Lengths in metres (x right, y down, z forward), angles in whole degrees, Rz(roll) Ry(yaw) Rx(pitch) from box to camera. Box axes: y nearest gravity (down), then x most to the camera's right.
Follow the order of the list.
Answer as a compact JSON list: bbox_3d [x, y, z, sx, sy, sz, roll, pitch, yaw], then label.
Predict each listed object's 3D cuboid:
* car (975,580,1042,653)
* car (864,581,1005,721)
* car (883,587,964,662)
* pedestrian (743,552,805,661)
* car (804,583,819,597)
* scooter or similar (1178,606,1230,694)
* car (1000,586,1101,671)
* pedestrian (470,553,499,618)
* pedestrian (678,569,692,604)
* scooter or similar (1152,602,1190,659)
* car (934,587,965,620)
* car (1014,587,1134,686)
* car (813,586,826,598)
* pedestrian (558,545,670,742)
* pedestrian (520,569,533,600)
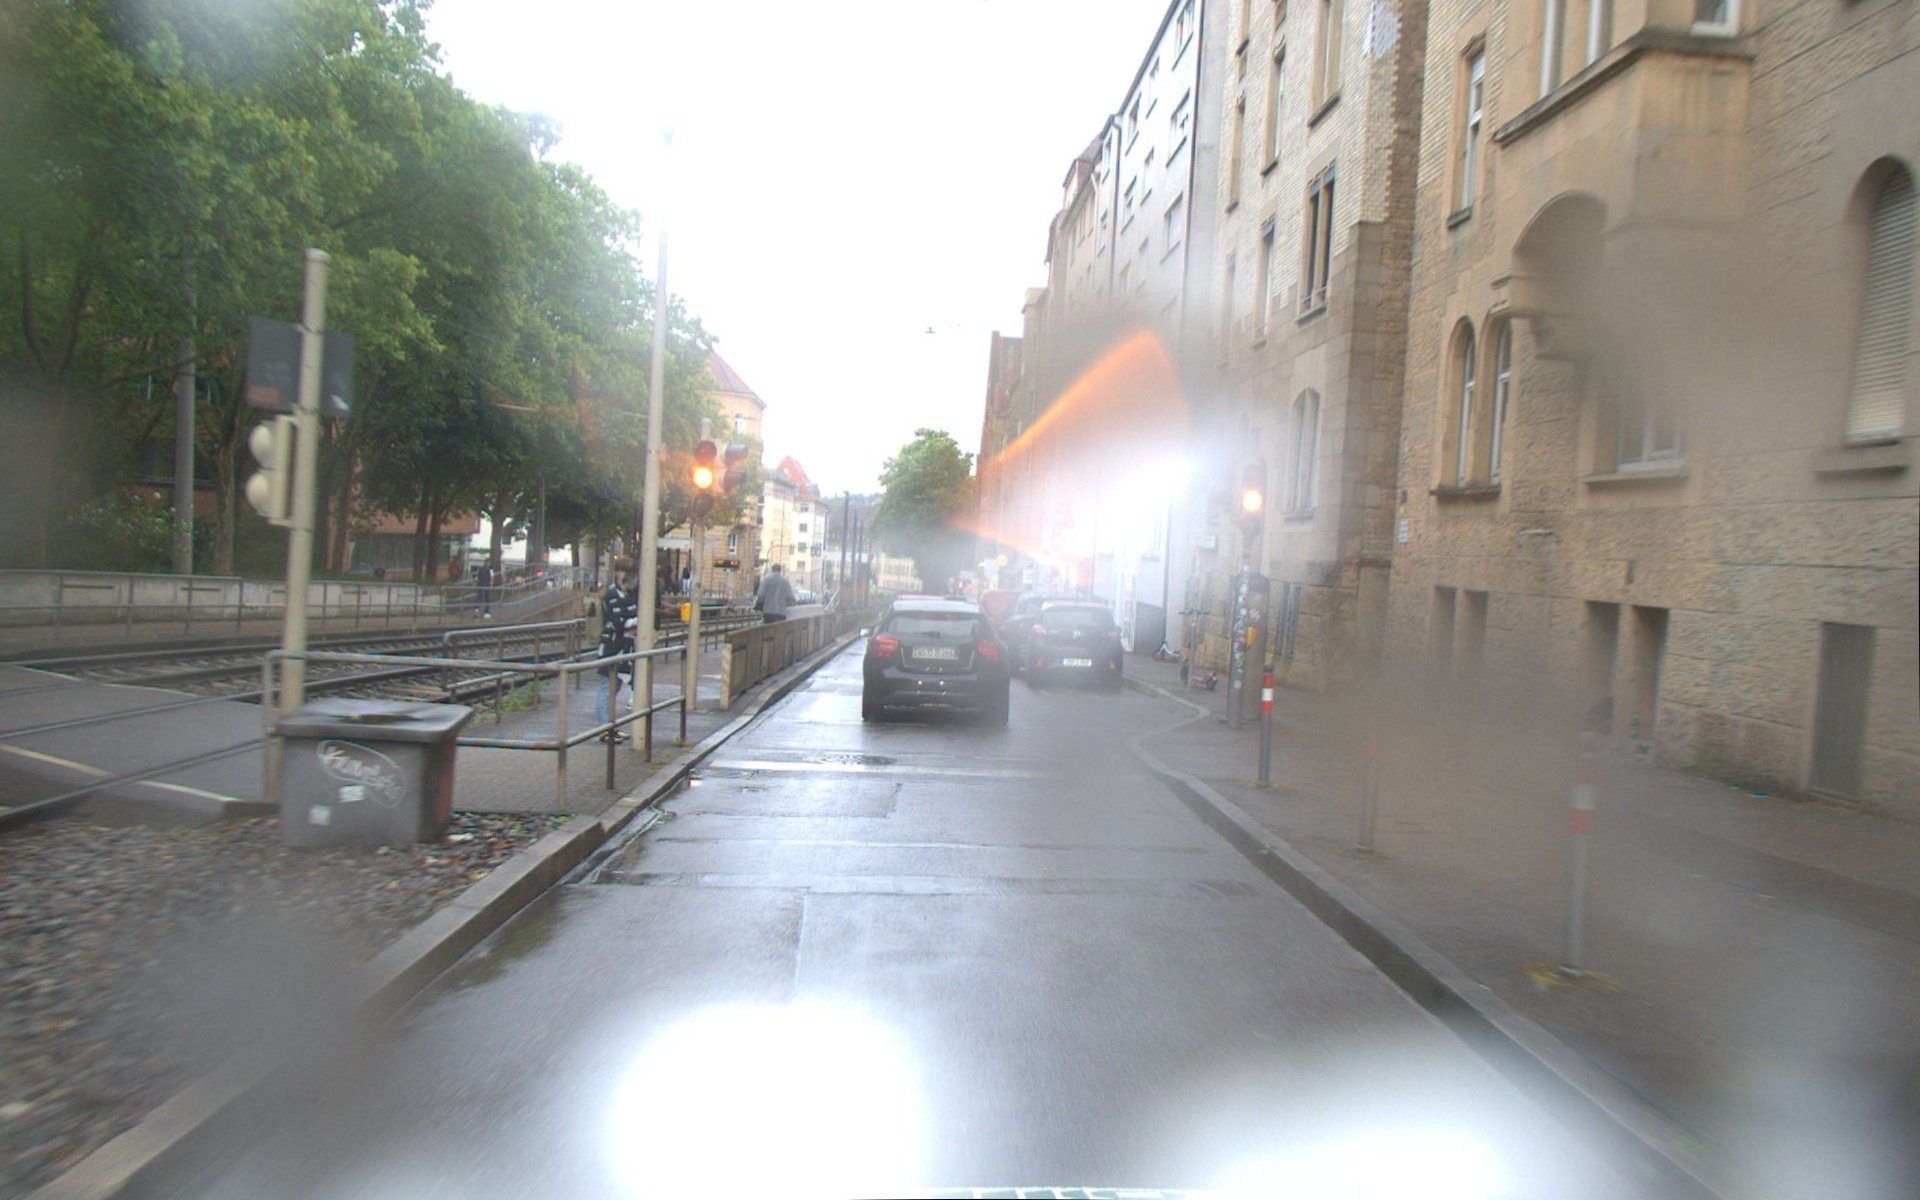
[{"bbox_3d":[1.405,0.450,49.346,1.724,2.049,3.999,1,1,-2],"label":"car"},{"bbox_3d":[-0.353,0.569,20.502,1.548,1.531,3.573,2,0,-2],"label":"car"},{"bbox_3d":[-0.874,0.529,38.928,1.749,1.608,3.999,2,0,-2],"label":"car"},{"bbox_3d":[-3.546,0.113,31.617,1.115,2.033,1.171,1,0,-6],"label":"pedestrian"},{"bbox_3d":[-19.566,-1.355,217.823,1.695,1.739,3.882,2,0,-1],"label":"car"},{"bbox_3d":[3.941,0.781,26.827,0.440,1.344,1.776,1,1,-4],"label":"scooter or similar"},{"bbox_3d":[1.802,0.531,34.127,1.724,1.606,3.999,1,1,-2],"label":"car"},{"bbox_3d":[-13.405,-0.403,46.622,0.523,1.784,0.607,4,0,-1],"label":"pedestrian"},{"bbox_3d":[-13.865,-0.690,83.392,0.508,1.747,0.550,4,0,-2],"label":"pedestrian"},{"bbox_3d":[5.161,0.728,40.608,0.440,1.344,1.774,1,1,-9],"label":"scooter or similar"},{"bbox_3d":[-0.713,0.229,107.082,1.953,2.049,3.999,1,1,-1],"label":"car"},{"bbox_3d":[2.004,0.602,30.007,1.790,1.646,3.863,1,1,-2],"label":"car"},{"bbox_3d":[-20.859,-1.220,245.532,1.695,1.716,3.882,2,0,-1],"label":"car"},{"bbox_3d":[-3.025,0.366,14.543,0.789,1.662,0.892,1,0,-1],"label":"pedestrian"},{"bbox_3d":[-22.804,-0.794,87.020,0.508,1.623,0.600,2,0,-1],"label":"pedestrian"}]
